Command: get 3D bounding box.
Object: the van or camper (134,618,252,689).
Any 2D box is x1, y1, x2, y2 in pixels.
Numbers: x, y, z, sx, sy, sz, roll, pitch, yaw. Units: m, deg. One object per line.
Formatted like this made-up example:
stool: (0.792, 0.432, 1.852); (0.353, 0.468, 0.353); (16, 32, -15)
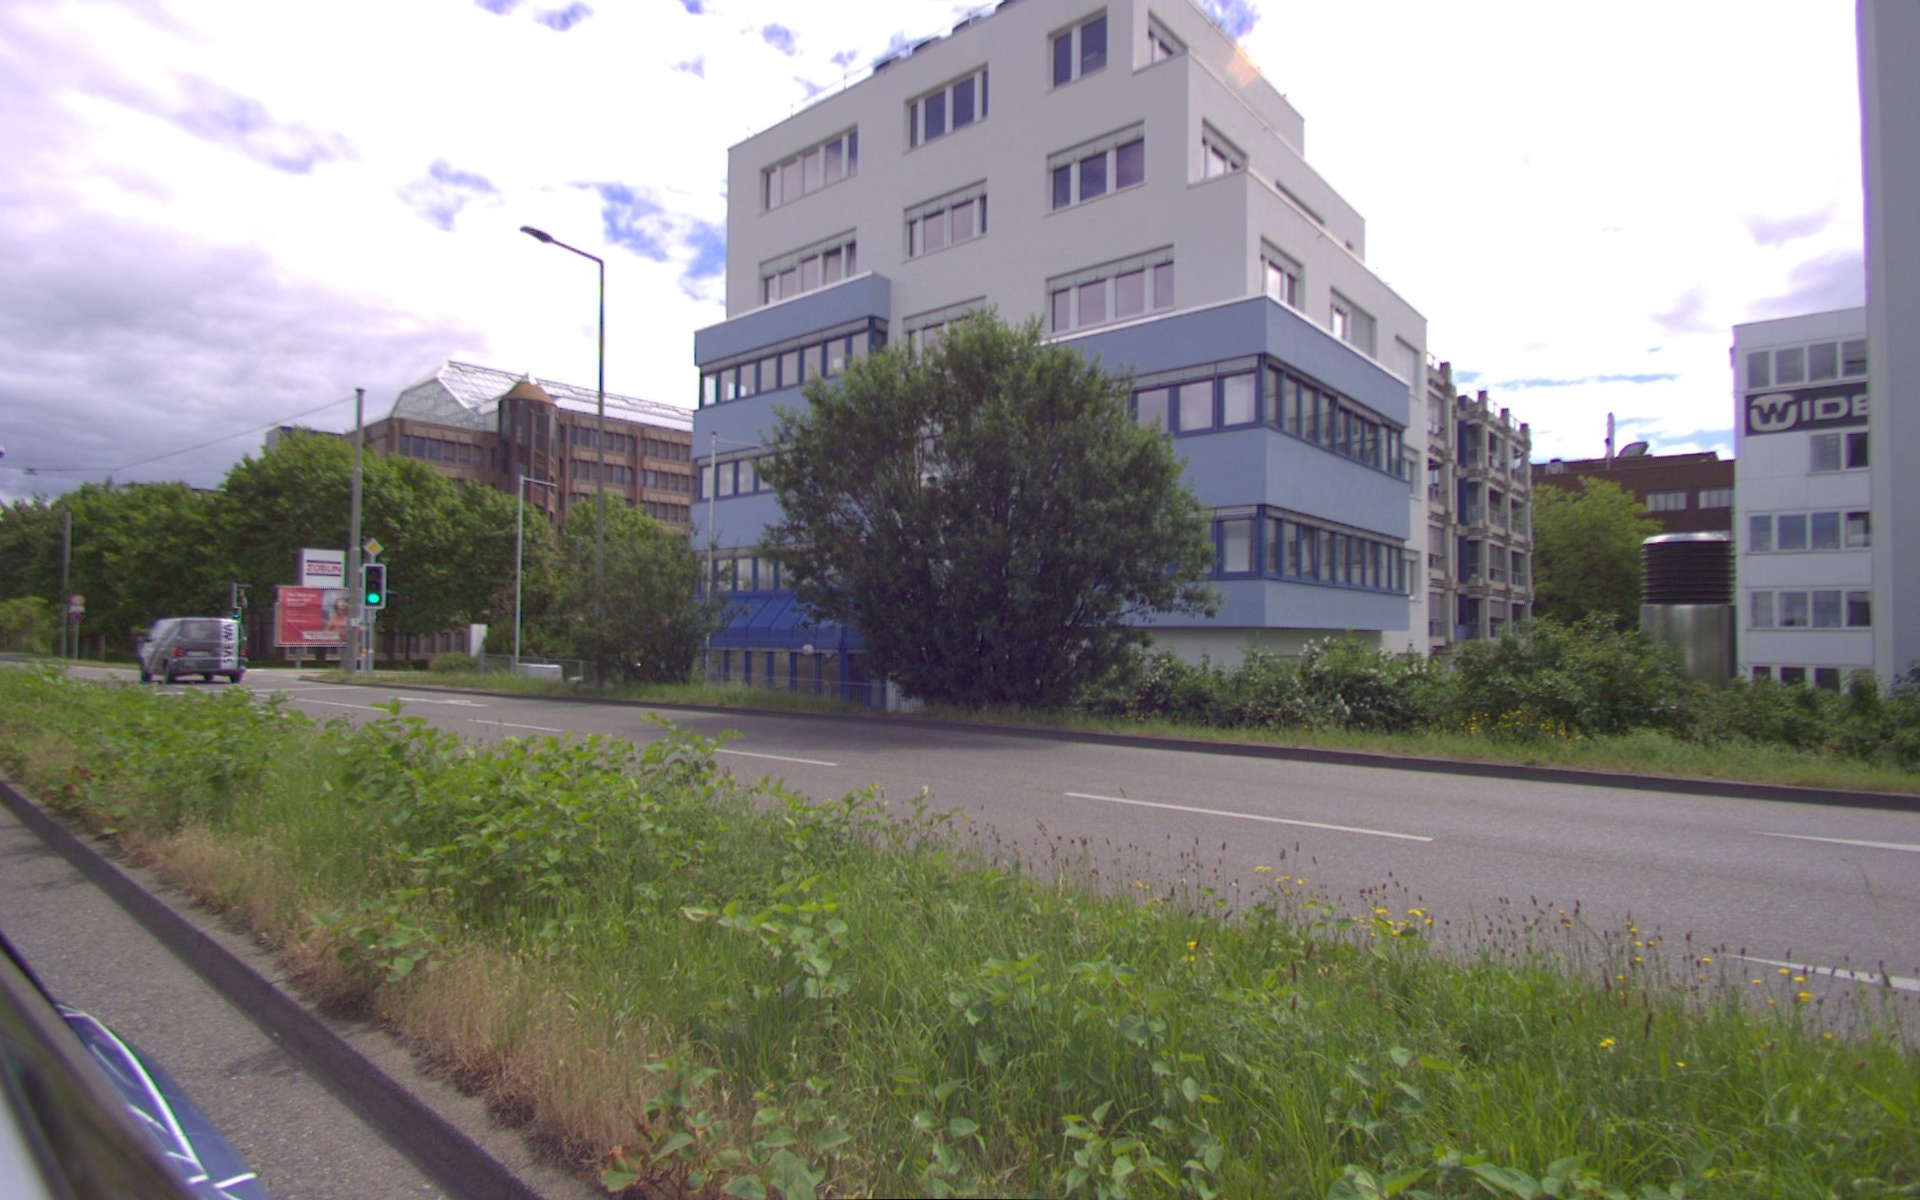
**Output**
van or camper: (-23.662, 1.593, 31.149); (4.814, 2.029, 1.972); (-2, -2, 42)
